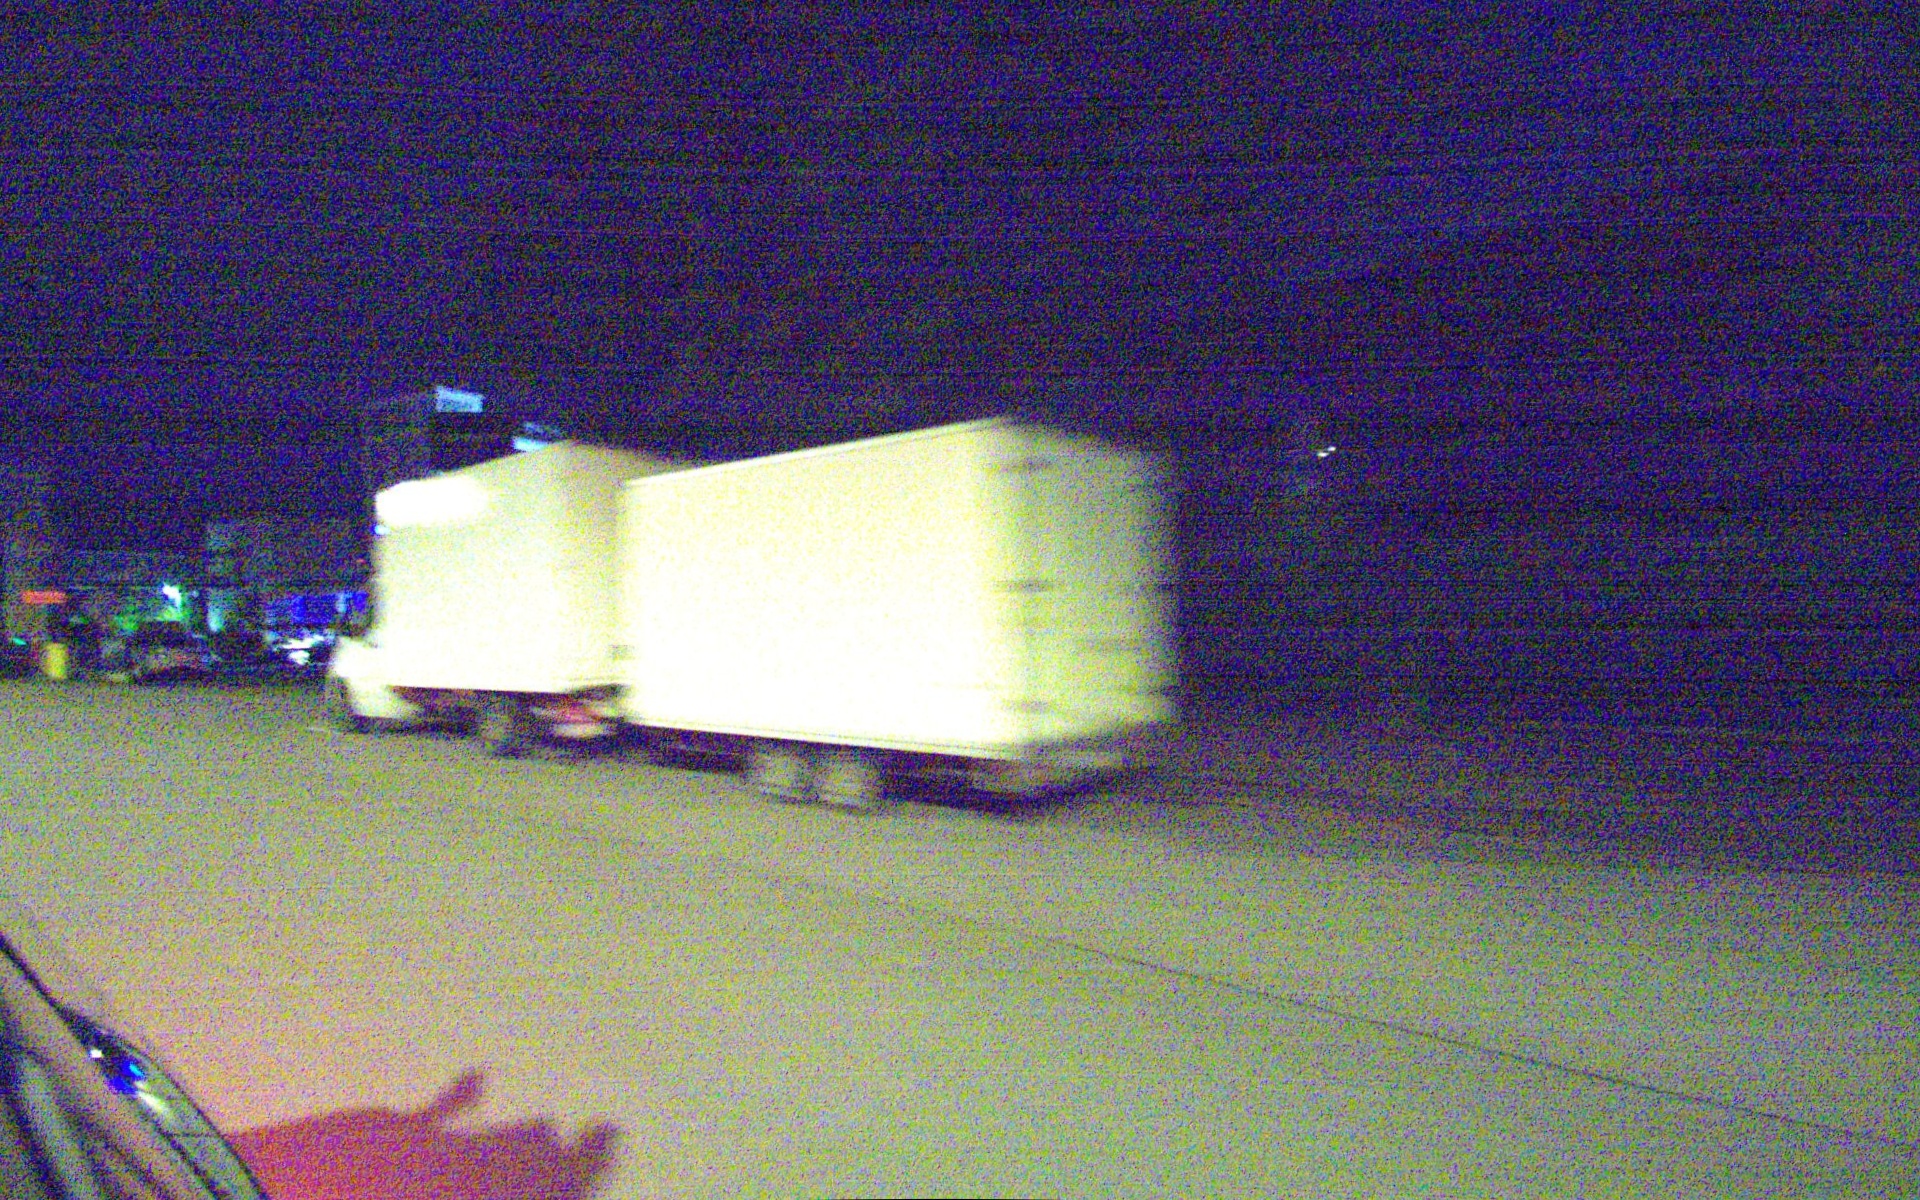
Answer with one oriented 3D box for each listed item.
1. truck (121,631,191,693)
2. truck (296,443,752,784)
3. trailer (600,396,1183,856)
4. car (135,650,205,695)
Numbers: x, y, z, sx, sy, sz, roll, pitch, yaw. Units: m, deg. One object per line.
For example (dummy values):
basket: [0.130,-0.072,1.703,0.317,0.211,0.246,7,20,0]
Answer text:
truck: [-37.070,2.804,46.575,2.106,2.633,7.108,2,-3,-42]
truck: [-5.884,0.247,12.914,7.225,3.268,2.349,-2,-2,40]
trailer: [-0.753,0.232,8.503,4.610,2.817,2.183,-2,-2,39]
car: [-31.591,2.854,40.421,1.835,1.652,4.004,2,-3,-43]
